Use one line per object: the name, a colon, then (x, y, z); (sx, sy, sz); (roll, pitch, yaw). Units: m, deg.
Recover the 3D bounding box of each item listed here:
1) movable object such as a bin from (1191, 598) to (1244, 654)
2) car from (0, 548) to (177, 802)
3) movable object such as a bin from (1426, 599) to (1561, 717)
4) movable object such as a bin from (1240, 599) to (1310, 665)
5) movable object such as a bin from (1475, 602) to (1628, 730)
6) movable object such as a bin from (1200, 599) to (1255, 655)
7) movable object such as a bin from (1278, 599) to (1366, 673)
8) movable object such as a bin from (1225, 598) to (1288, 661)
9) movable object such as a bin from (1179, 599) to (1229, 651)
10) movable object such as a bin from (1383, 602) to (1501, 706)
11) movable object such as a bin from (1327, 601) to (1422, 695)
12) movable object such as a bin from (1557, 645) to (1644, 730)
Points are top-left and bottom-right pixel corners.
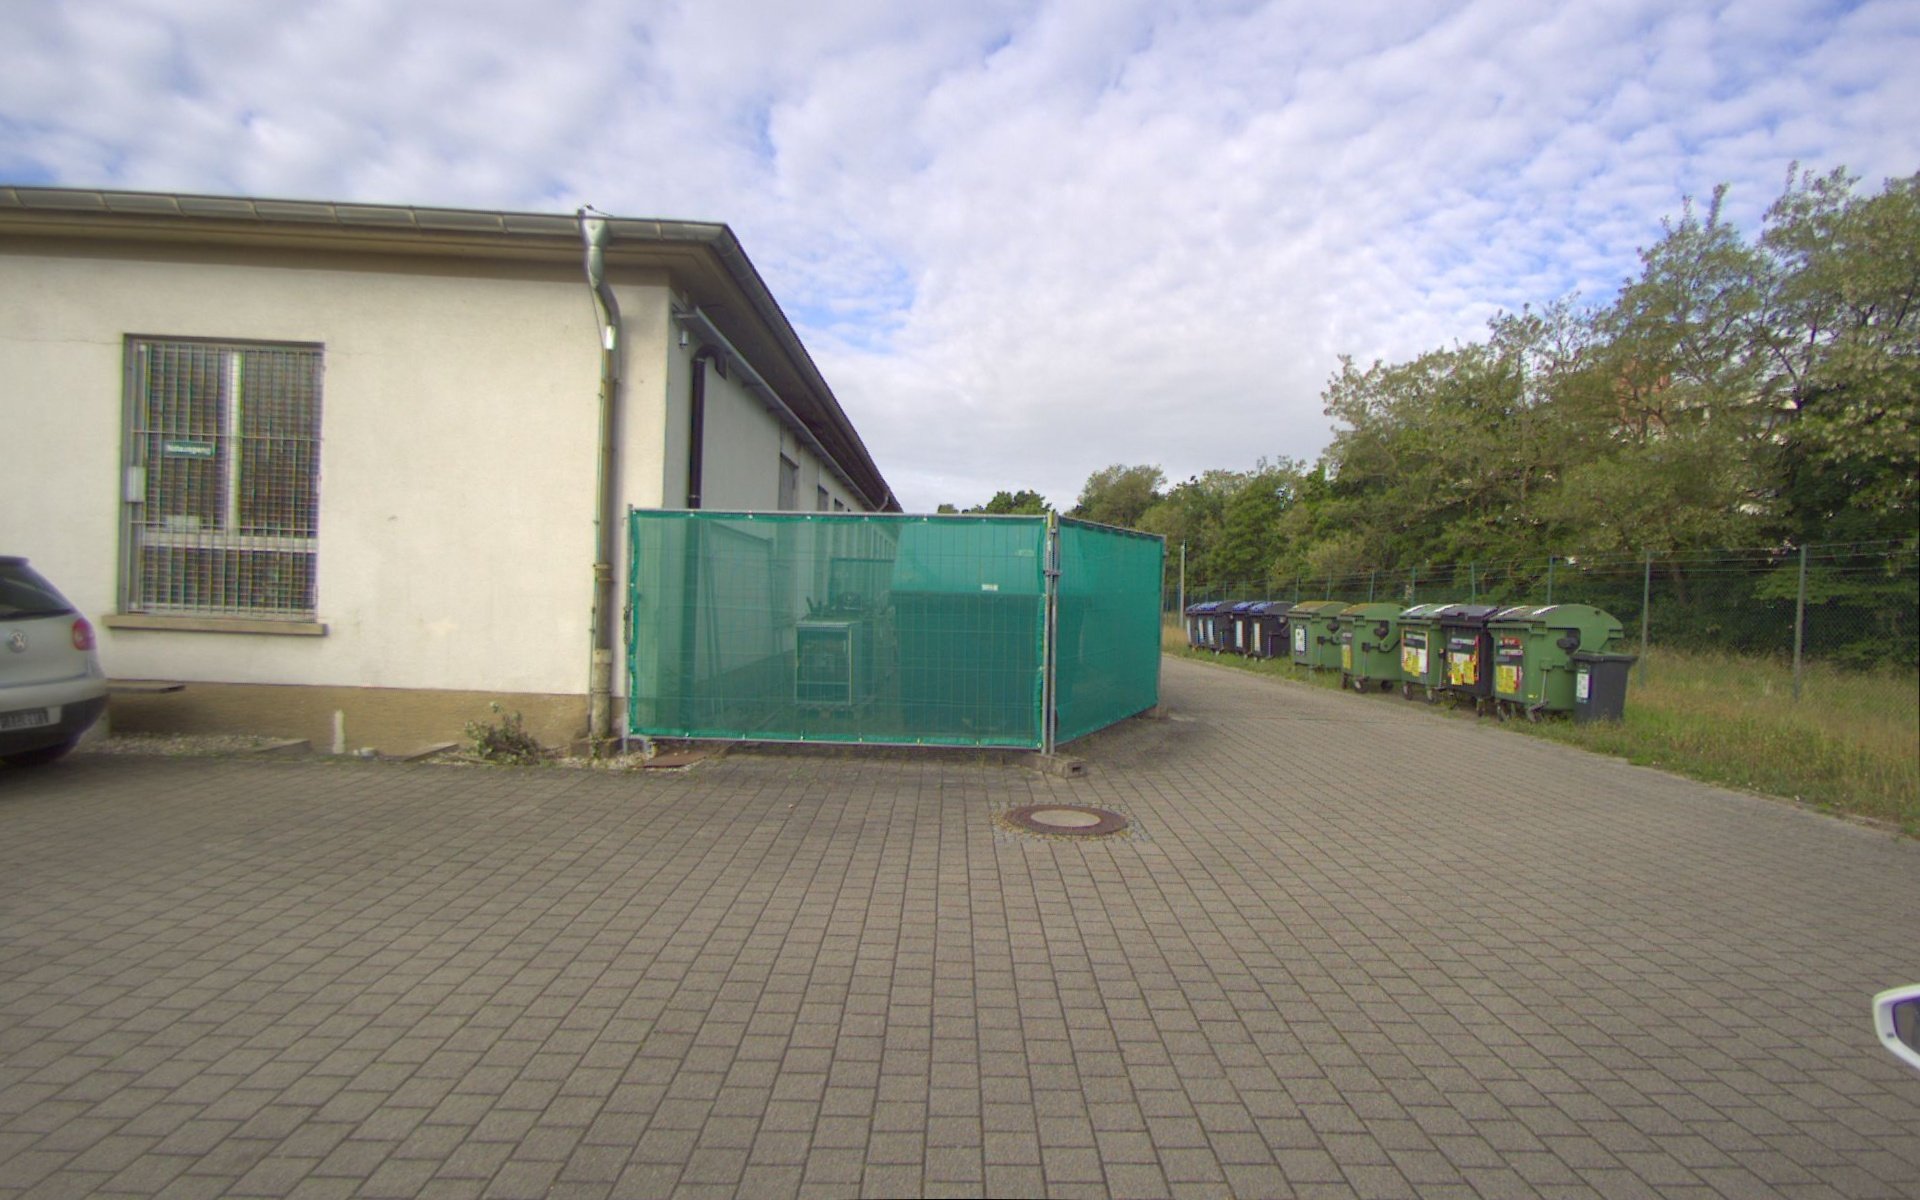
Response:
movable object such as a bin: (6.787, 0.667, 26.590); (1.104, 1.397, 1.326); (2, 0, 5)
car: (-7.750, 0.361, 6.220); (4.282, 1.458, 1.930); (2, 2, 0)
movable object such as a bin: (7.118, 0.743, 13.486); (1.051, 1.454, 1.398); (2, 0, 2)
movable object such as a bin: (6.927, 0.690, 22.204); (1.134, 1.342, 1.494); (2, 0, 5)
movable object such as a bin: (7.083, 0.758, 12.129); (1.109, 1.414, 1.357); (2, 0, 8)
movable object such as a bin: (6.715, 0.672, 25.288); (1.104, 1.339, 1.326); (2, 0, 5)
movable object such as a bin: (6.809, 0.662, 18.997); (1.104, 1.313, 1.379); (2, 0, -1)
movable object such as a bin: (6.995, 0.683, 23.786); (1.104, 1.392, 1.494); (2, 0, 5)
movable object such as a bin: (6.791, 0.687, 27.997); (1.104, 1.368, 1.426); (2, 0, 5)
movable object such as a bin: (7.068, 0.764, 14.819); (1.051, 1.424, 1.385); (2, 0, 2)
movable object such as a bin: (6.735, 0.758, 16.403); (1.103, 1.416, 1.386); (2, 0, 10)
movable object such as a bin: (7.101, 0.959, 11.158); (0.589, 0.877, 0.586); (2, 0, 8)
